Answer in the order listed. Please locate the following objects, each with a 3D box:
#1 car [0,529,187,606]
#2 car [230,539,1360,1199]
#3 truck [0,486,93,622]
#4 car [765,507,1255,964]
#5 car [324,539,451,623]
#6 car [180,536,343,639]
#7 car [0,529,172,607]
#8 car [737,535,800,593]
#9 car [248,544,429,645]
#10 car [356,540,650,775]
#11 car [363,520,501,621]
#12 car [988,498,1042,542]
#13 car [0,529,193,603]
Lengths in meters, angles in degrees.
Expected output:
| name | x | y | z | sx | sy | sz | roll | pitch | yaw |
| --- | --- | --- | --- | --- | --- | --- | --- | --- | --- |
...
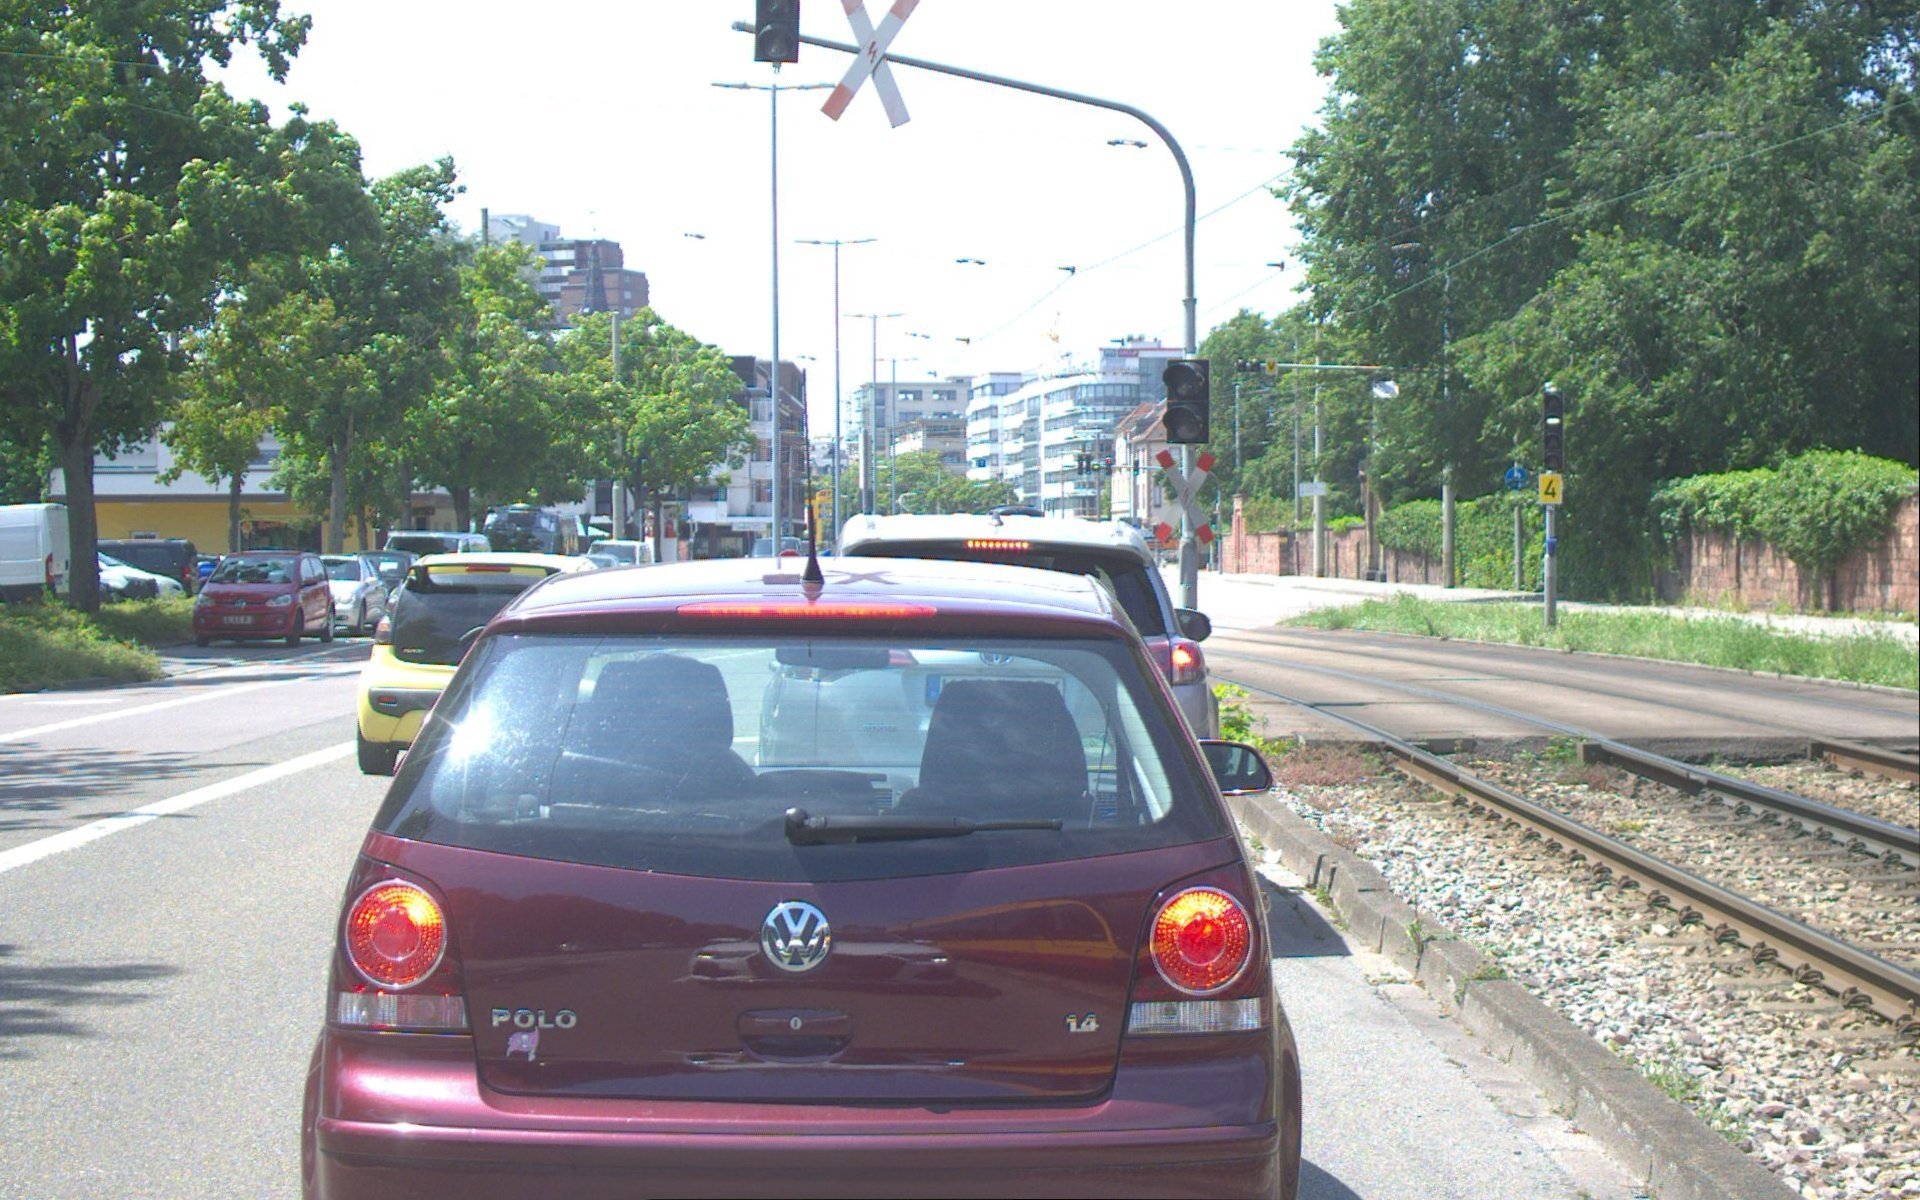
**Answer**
| name | x | y | z | sx | sy | sz | roll | pitch | yaw |
| --- | --- | --- | --- | --- | --- | --- | --- | --- | --- |
| car | -21.421 | -0.797 | 83.879 | 4.718 | 1.807 | 1.797 | -1 | 1 | -1 |
| car | -0.263 | 0.639 | 6.938 | 1.609 | 1.493 | 4.000 | 1 | 1 | -1 |
| truck | -21.085 | -0.929 | 71.231 | 5.578 | 2.750 | 2.432 | -1 | 1 | 1 |
| car | 0.162 | 0.464 | 14.765 | 1.795 | 1.677 | 4.000 | 1 | 1 | -1 |
| car | -10.973 | -0.391 | 66.053 | 1.614 | 1.479 | 3.784 | 3 | 1 | 2 |
| car | -10.961 | -0.206 | 54.189 | 1.672 | 1.541 | 3.726 | 1 | 1 | 2 |
| car | -21.340 | -0.768 | 81.929 | 4.718 | 1.807 | 1.797 | -1 | 1 | -1 |
| car | -6.551 | -1.252 | 118.261 | 1.918 | 1.904 | 4.571 | -2 | 1 | -1 |
| car | -10.966 | -0.129 | 61.019 | 1.719 | 1.422 | 4.770 | -7 | 1 | 6 |
| car | -3.017 | 0.333 | 23.241 | 1.551 | 1.443 | 3.412 | 1 | 1 | -1 |
| car | -10.884 | -0.633 | 71.210 | 1.863 | 1.930 | 4.805 | 3 | 1 | 2 |
| car | 2.460 | -3.603 | 154.994 | 1.918 | 1.904 | 4.572 | -1 | 1 | -5 |
| car | -21.810 | -0.860 | 86.228 | 4.718 | 1.807 | 1.797 | -1 | 1 | -1 |
